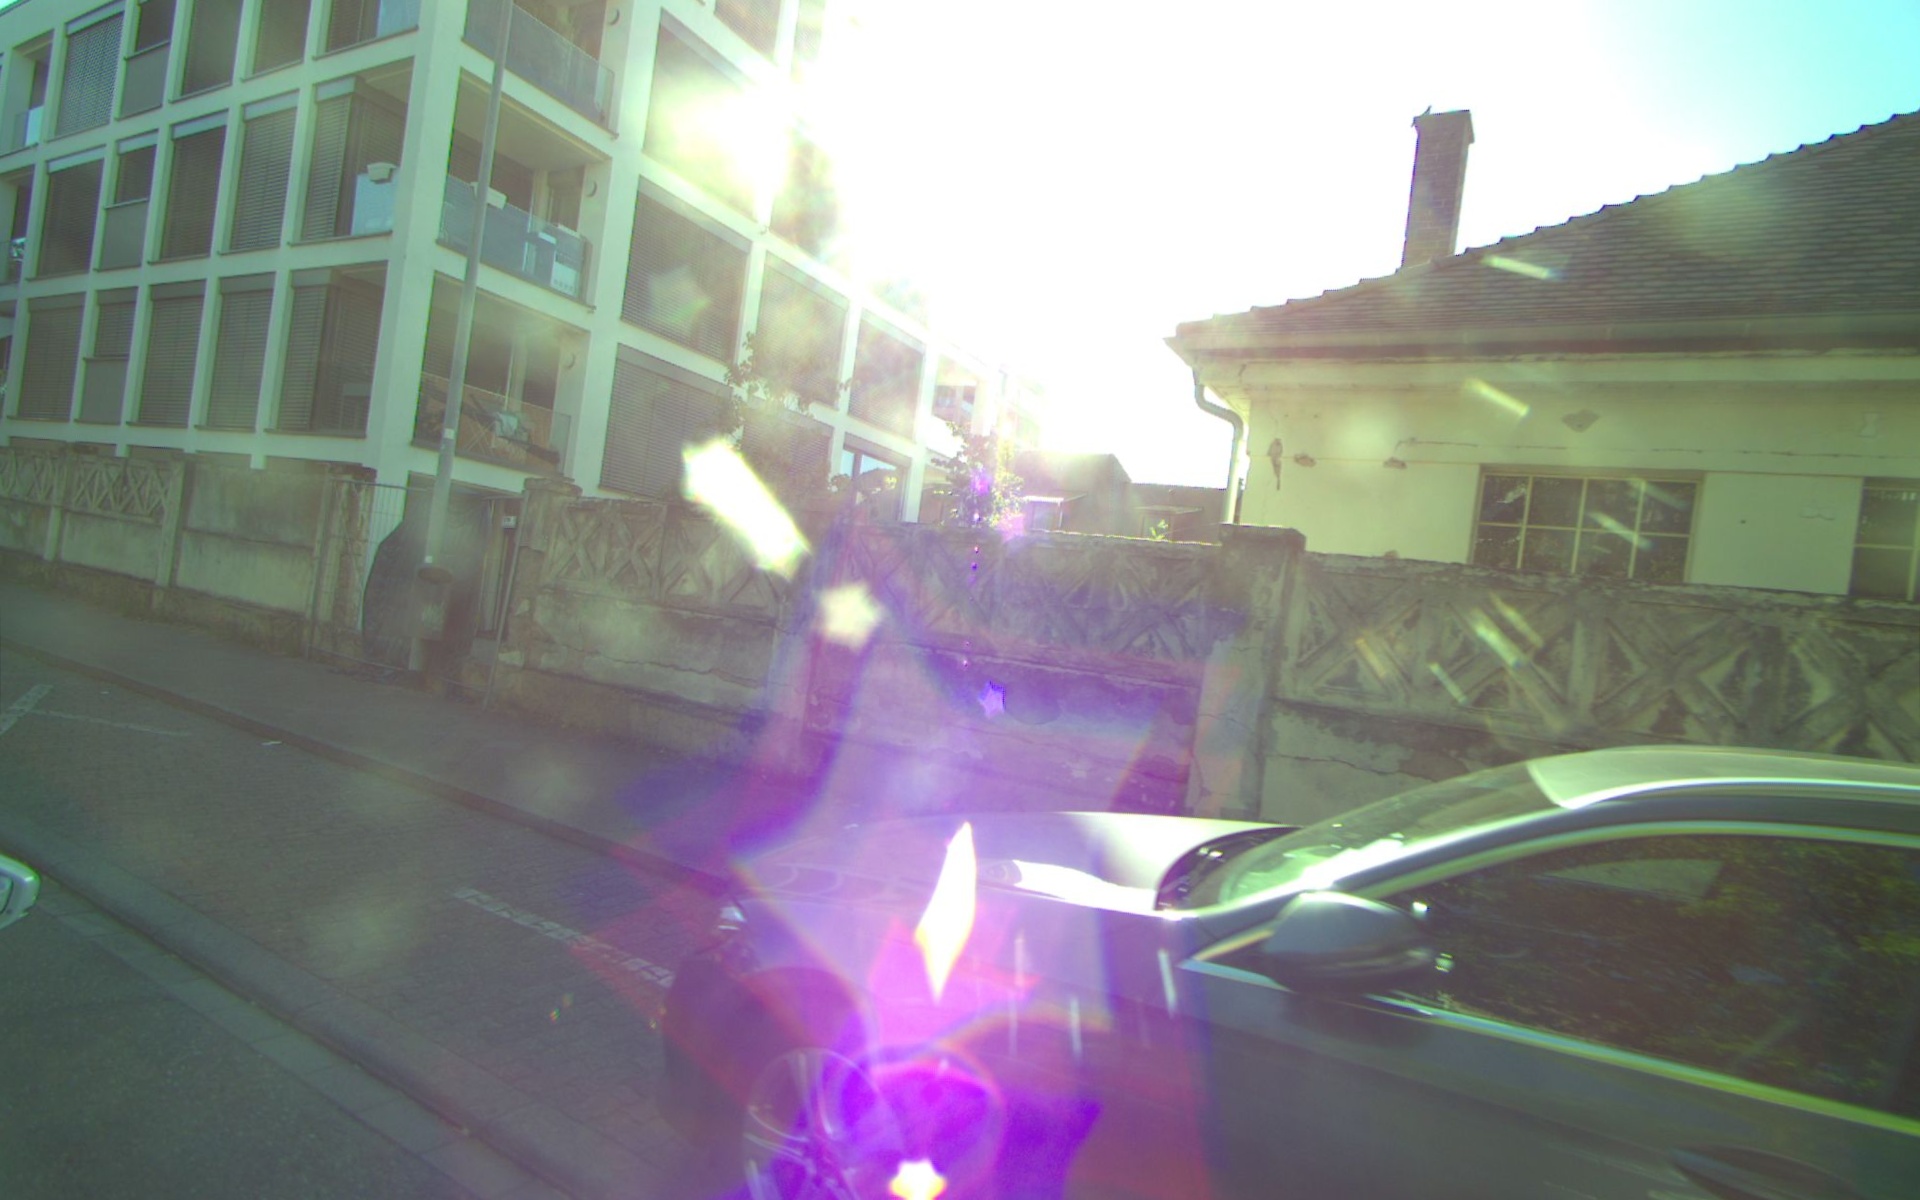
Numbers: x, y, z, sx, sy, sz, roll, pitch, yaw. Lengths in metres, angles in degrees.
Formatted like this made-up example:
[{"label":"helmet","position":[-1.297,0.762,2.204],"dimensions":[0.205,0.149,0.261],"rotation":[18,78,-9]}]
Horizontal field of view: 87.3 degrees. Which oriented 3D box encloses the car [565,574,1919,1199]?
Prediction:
[{"label":"car","position":[1.536,1.014,2.084],"dimensions":[4.707,1.485,1.707],"rotation":[7,-1,30]}]
